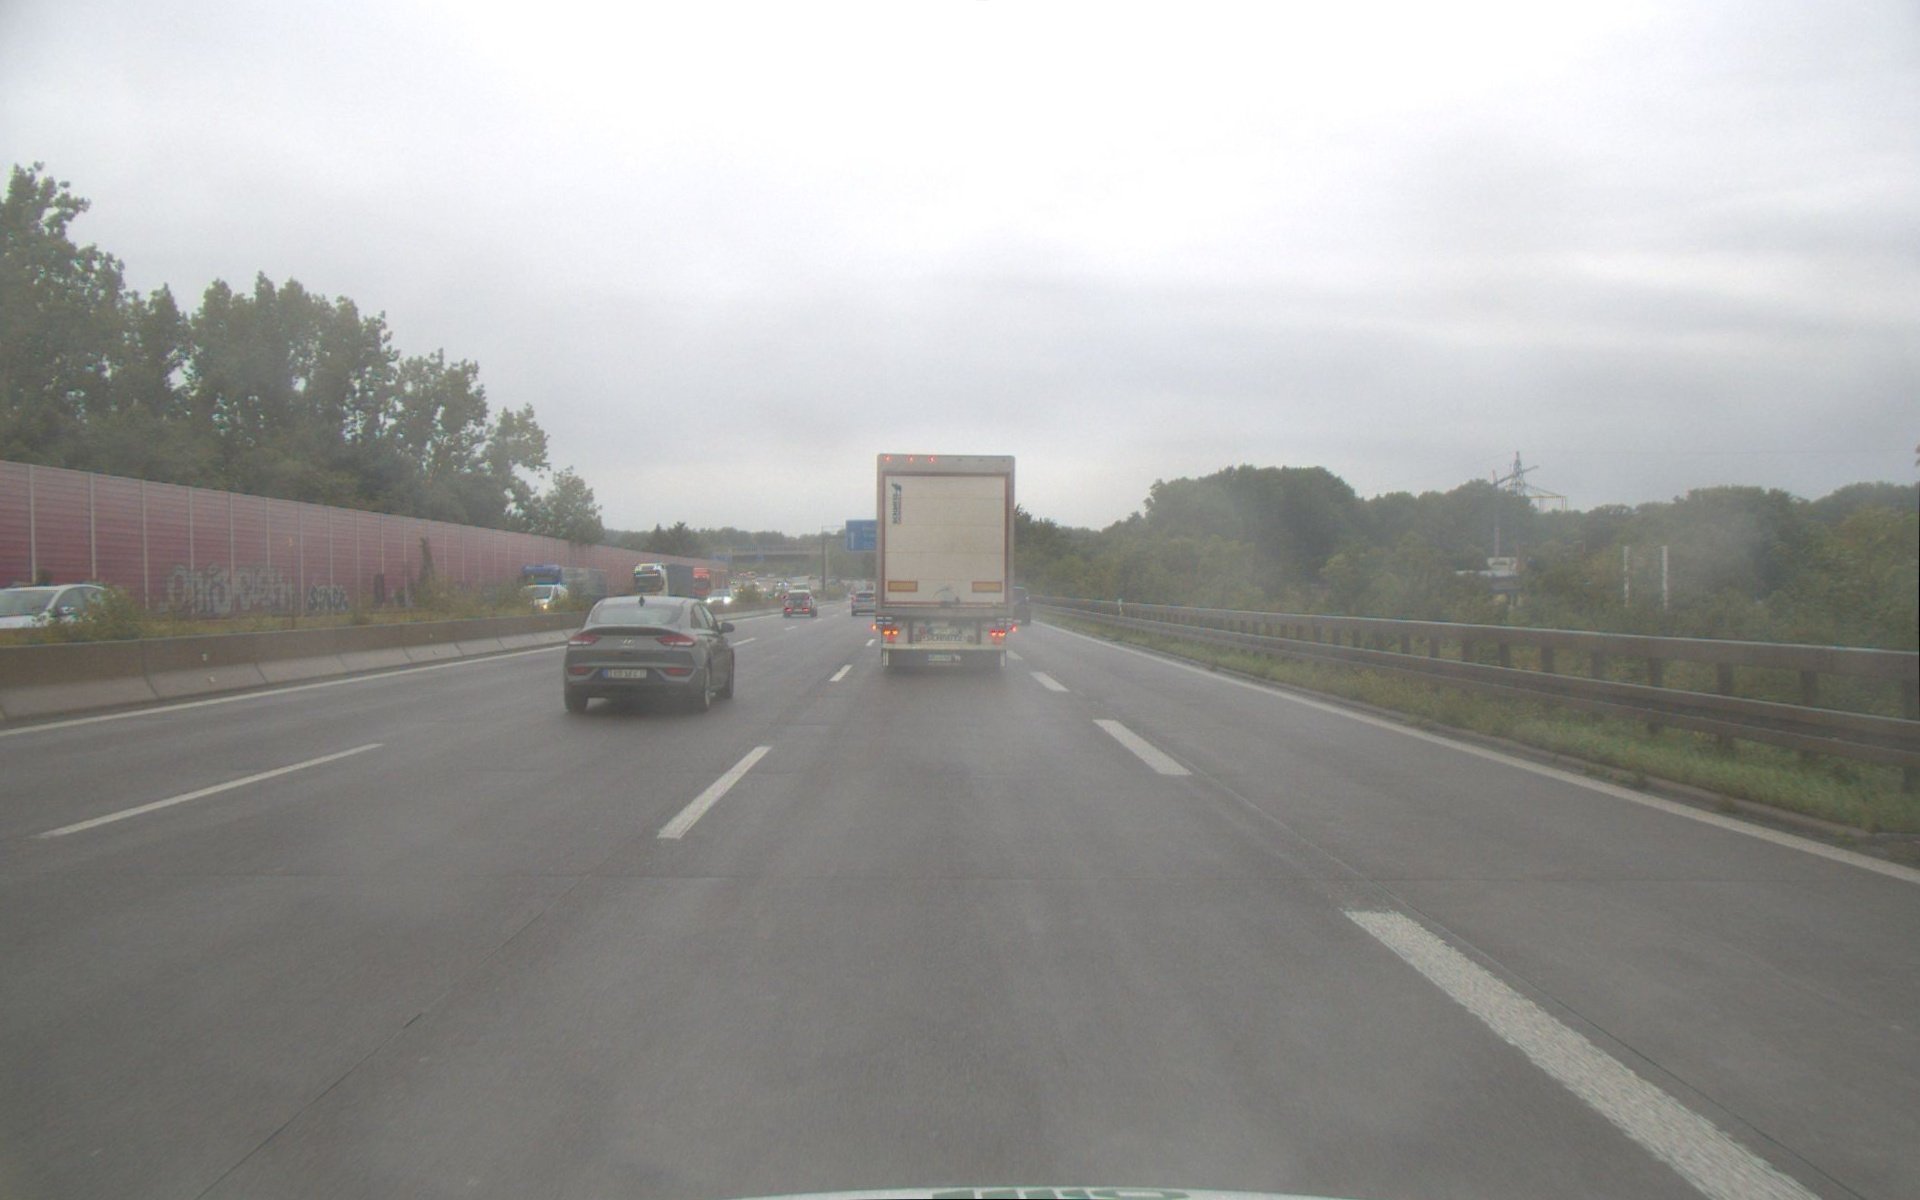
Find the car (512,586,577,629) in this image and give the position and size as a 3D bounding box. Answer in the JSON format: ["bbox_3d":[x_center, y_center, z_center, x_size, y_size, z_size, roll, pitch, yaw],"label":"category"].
[{"bbox_3d":[-20.640,0.354,82.356,1.953,2.049,5.133,0,0,-1],"label":"car"}]

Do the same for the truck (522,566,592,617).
[{"bbox_3d":[-28.335,-0.600,116.775,2.658,3.409,10.428,1,0,-2],"label":"truck"}]

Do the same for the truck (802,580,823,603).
[{"bbox_3d":[-19.093,-1.142,213.887,2.220,2.878,7.277,1,0,-2],"label":"truck"}]

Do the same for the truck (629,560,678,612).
[{"bbox_3d":[-24.865,-1.107,134.346,2.985,4.098,6.049,1,0,-2],"label":"truck"}]

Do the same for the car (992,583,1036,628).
[{"bbox_3d":[2.468,0.223,76.233,1.858,1.983,4.000,1,0,0],"label":"car"}]

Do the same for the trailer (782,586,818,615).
[{"bbox_3d":[-9.348,0.008,96.953,1.778,1.653,4.567,0,1,-1],"label":"trailer"}]

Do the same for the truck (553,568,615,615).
[{"bbox_3d":[-28.629,-0.664,126.351,2.912,3.409,8.697,1,0,-2],"label":"truck"}]

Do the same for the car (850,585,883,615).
[{"bbox_3d":[-5.691,-0.023,101.043,1.855,1.753,3.999,1,0,-1],"label":"car"}]

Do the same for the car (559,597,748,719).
[{"bbox_3d":[-3.921,0.680,21.927,1.690,1.427,4.827,0,0,-1],"label":"car"}]

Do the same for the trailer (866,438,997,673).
[{"bbox_3d":[-0.649,-0.915,37.439,2.295,4.229,14.824,1,1,-1],"label":"trailer"}]

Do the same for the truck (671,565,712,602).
[{"bbox_3d":[-26.836,-1.636,165.854,2.724,3.551,10.614,0,0,-2],"label":"truck"}]

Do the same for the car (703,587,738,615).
[{"bbox_3d":[-17.476,0.061,120.916,1.953,2.049,4.790,0,0,-2],"label":"car"}]
